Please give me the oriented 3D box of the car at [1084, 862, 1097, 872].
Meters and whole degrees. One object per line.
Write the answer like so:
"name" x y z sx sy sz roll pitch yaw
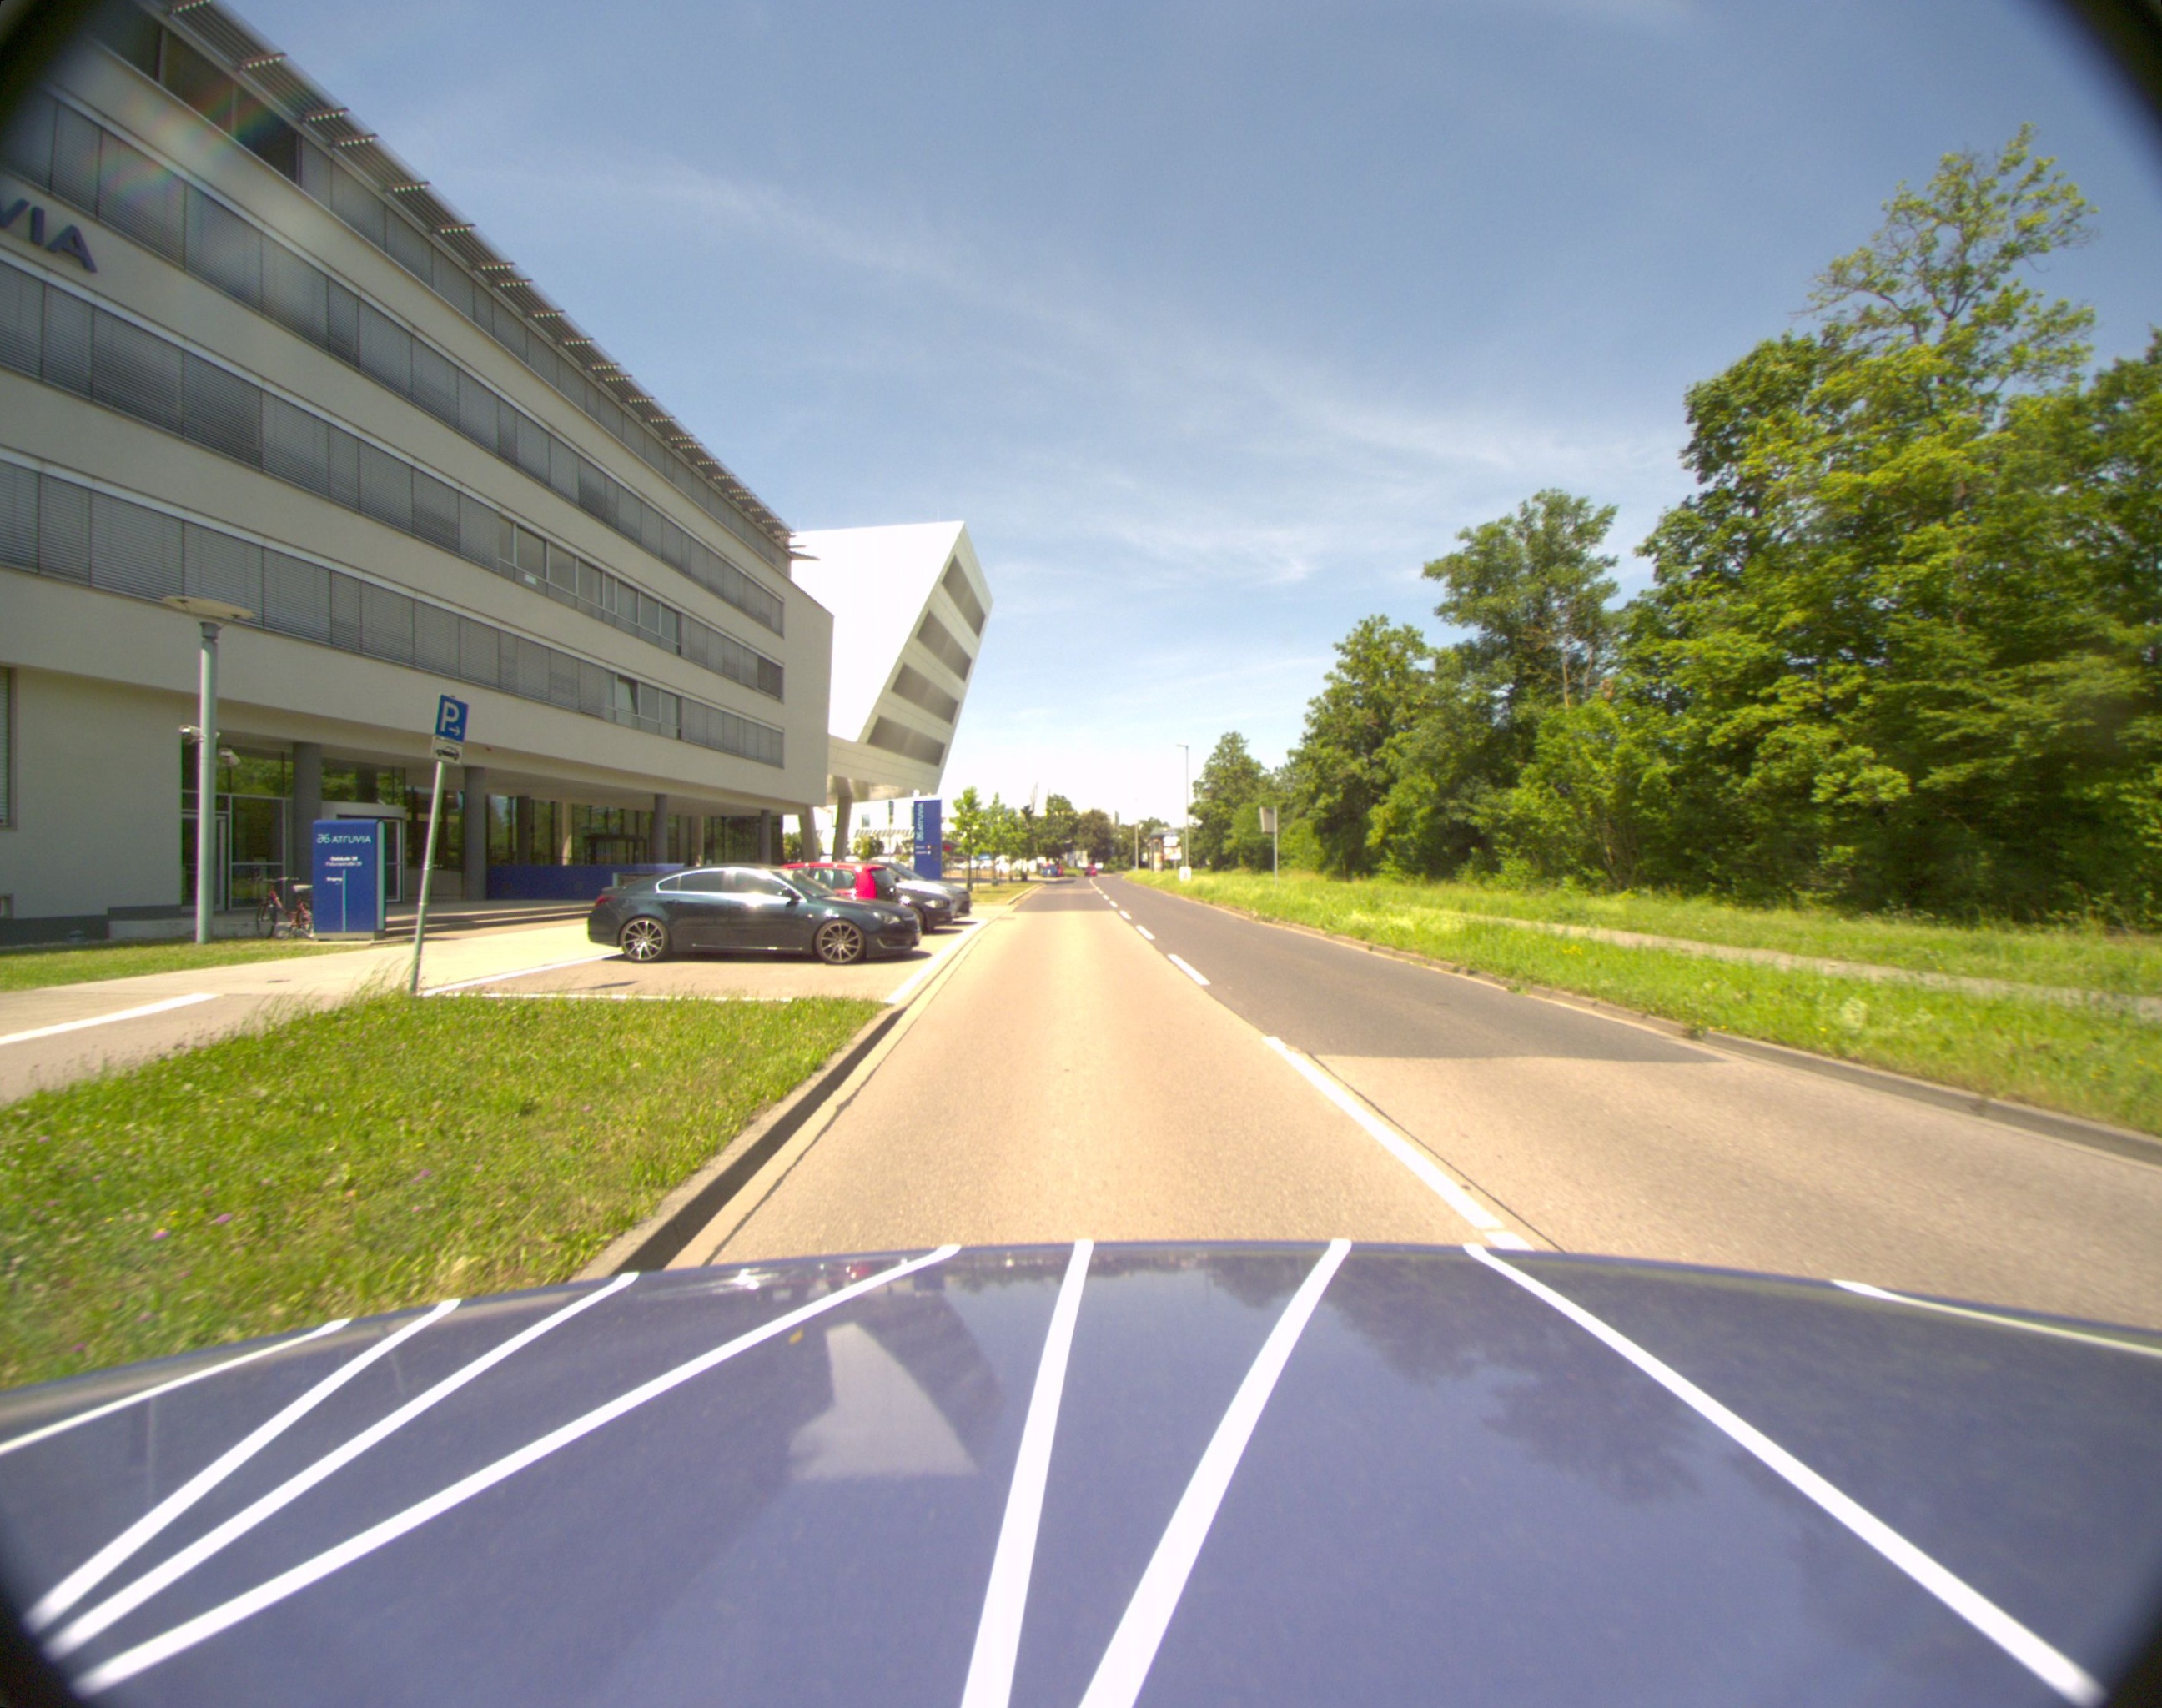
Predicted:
"car" 1.421 1.847 108.766 1.712 1.368 3.676 -1 0 3

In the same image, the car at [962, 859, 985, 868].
"car" -19.967 1.756 141.677 3.916 1.533 1.704 -1 0 6

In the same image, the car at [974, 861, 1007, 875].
"car" -11.336 1.771 95.603 3.822 1.664 1.742 -1 0 2

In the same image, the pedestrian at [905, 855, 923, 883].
"pedestrian" -9.972 0.883 45.405 0.844 1.650 0.775 -1 0 -2

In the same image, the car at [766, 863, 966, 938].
"car" -4.548 0.968 16.428 3.816 1.477 1.656 1 0 2

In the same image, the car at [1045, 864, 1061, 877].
"car" -3.451 2.040 93.725 1.802 1.490 3.999 -1 0 -1

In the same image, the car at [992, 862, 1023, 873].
"car" -10.129 1.871 105.320 3.996 1.385 1.653 -1 0 3

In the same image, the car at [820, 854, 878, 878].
"car" -25.161 1.277 82.565 5.581 2.445 2.001 -1 0 6

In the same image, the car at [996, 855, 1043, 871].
"car" -9.094 1.359 112.571 6.492 2.137 2.166 -1 0 6

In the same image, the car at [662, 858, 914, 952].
"car" -5.348 0.897 14.242 3.996 1.645 1.839 0 0 2

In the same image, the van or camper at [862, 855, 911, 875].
"van or camper" -24.409 1.416 95.375 5.699 2.376 1.704 -1 0 6

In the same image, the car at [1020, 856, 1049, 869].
"car" -7.249 1.324 118.324 4.204 1.964 1.704 -1 0 6

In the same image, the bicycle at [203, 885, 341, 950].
"bicycle" -13.959 1.086 13.130 1.881 1.054 0.534 -1 0 4

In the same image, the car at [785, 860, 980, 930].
"car" -4.812 0.970 18.847 4.331 1.554 1.786 1 0 1

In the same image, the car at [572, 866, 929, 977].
"car" -4.782 0.963 11.517 4.579 1.423 1.827 2 0 -2
